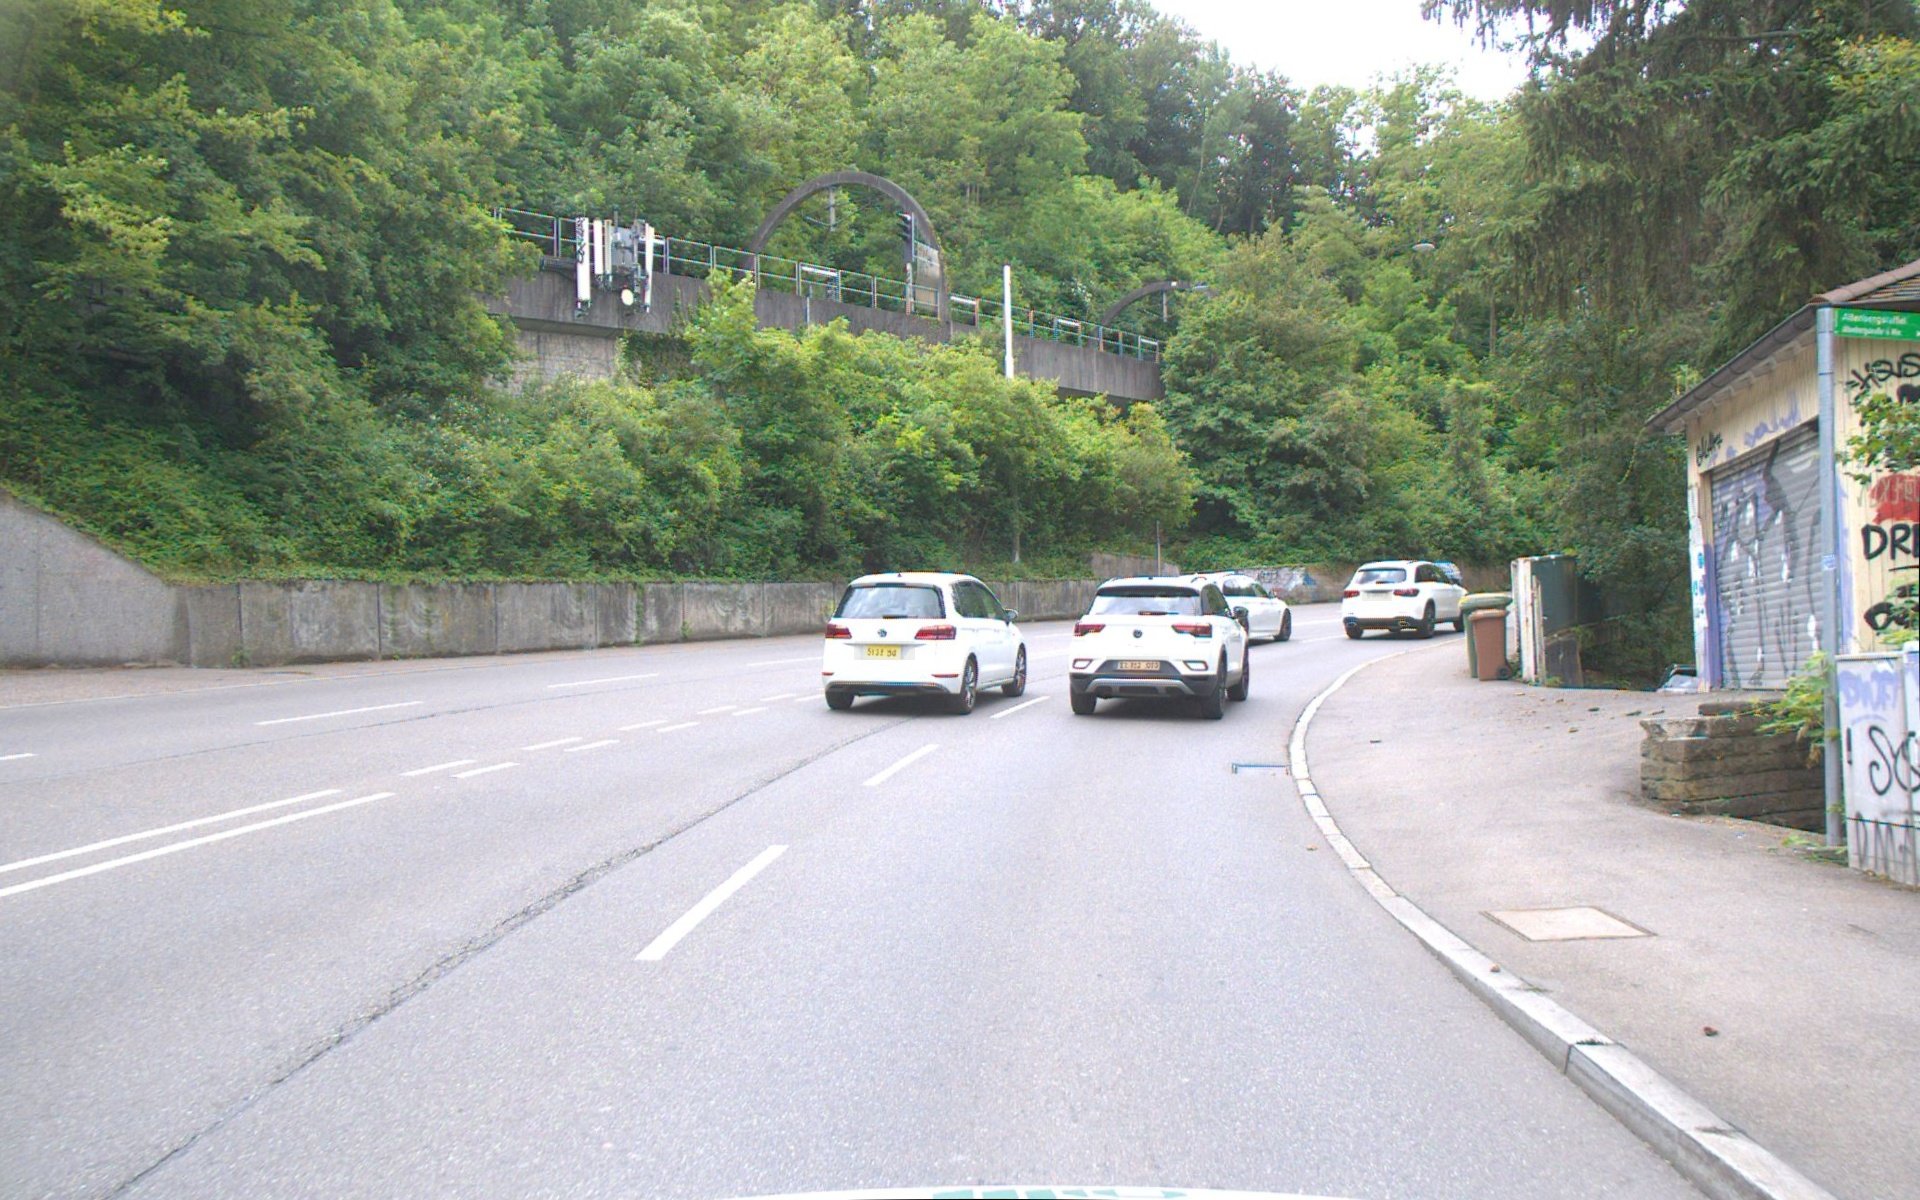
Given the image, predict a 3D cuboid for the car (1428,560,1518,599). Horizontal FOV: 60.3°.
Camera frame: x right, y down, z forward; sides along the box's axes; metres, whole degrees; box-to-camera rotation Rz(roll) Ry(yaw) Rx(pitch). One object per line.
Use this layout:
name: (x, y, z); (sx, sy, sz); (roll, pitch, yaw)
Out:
car: (20.450, -0.812, 65.847); (1.882, 1.512, 3.973); (0, 1, 44)

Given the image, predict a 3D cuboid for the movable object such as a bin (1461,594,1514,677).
movable object such as a bin: (7.256, 0.485, 22.766); (0.590, 1.078, 0.480); (-4, 1, 13)

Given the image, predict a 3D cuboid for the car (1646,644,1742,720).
car: (15.274, 1.754, 34.555); (1.691, 1.424, 3.998); (1, -3, 22)

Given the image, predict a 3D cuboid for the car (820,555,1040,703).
car: (-0.242, 0.398, 20.369); (1.683, 1.582, 4.278); (2, -2, 13)

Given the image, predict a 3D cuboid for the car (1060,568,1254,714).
car: (2.492, 0.481, 20.038); (1.775, 1.566, 4.011); (0, -1, 15)

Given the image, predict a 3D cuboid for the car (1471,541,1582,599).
car: (19.186, -0.978, 55.922); (4.273, 1.546, 1.719); (6, -4, -43)

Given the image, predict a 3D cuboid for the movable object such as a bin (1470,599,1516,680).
movable object such as a bin: (7.158, 0.526, 22.235); (0.489, 1.026, 0.440); (-4, 1, 13)

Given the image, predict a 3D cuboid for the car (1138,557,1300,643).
car: (5.487, -0.047, 34.530); (1.955, 1.584, 4.676); (3, 2, 27)

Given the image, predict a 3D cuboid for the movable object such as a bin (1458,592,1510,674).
movable object such as a bin: (7.388, 0.465, 23.327); (0.590, 1.078, 0.480); (-4, 1, 13)

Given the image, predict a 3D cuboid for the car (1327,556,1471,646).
car: (9.843, 0.043, 36.890); (1.958, 1.875, 4.139); (1, -1, 32)

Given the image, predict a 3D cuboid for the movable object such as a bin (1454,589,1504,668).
movable object such as a bin: (7.483, 0.409, 23.863); (0.590, 1.078, 0.480); (-4, 1, 13)
